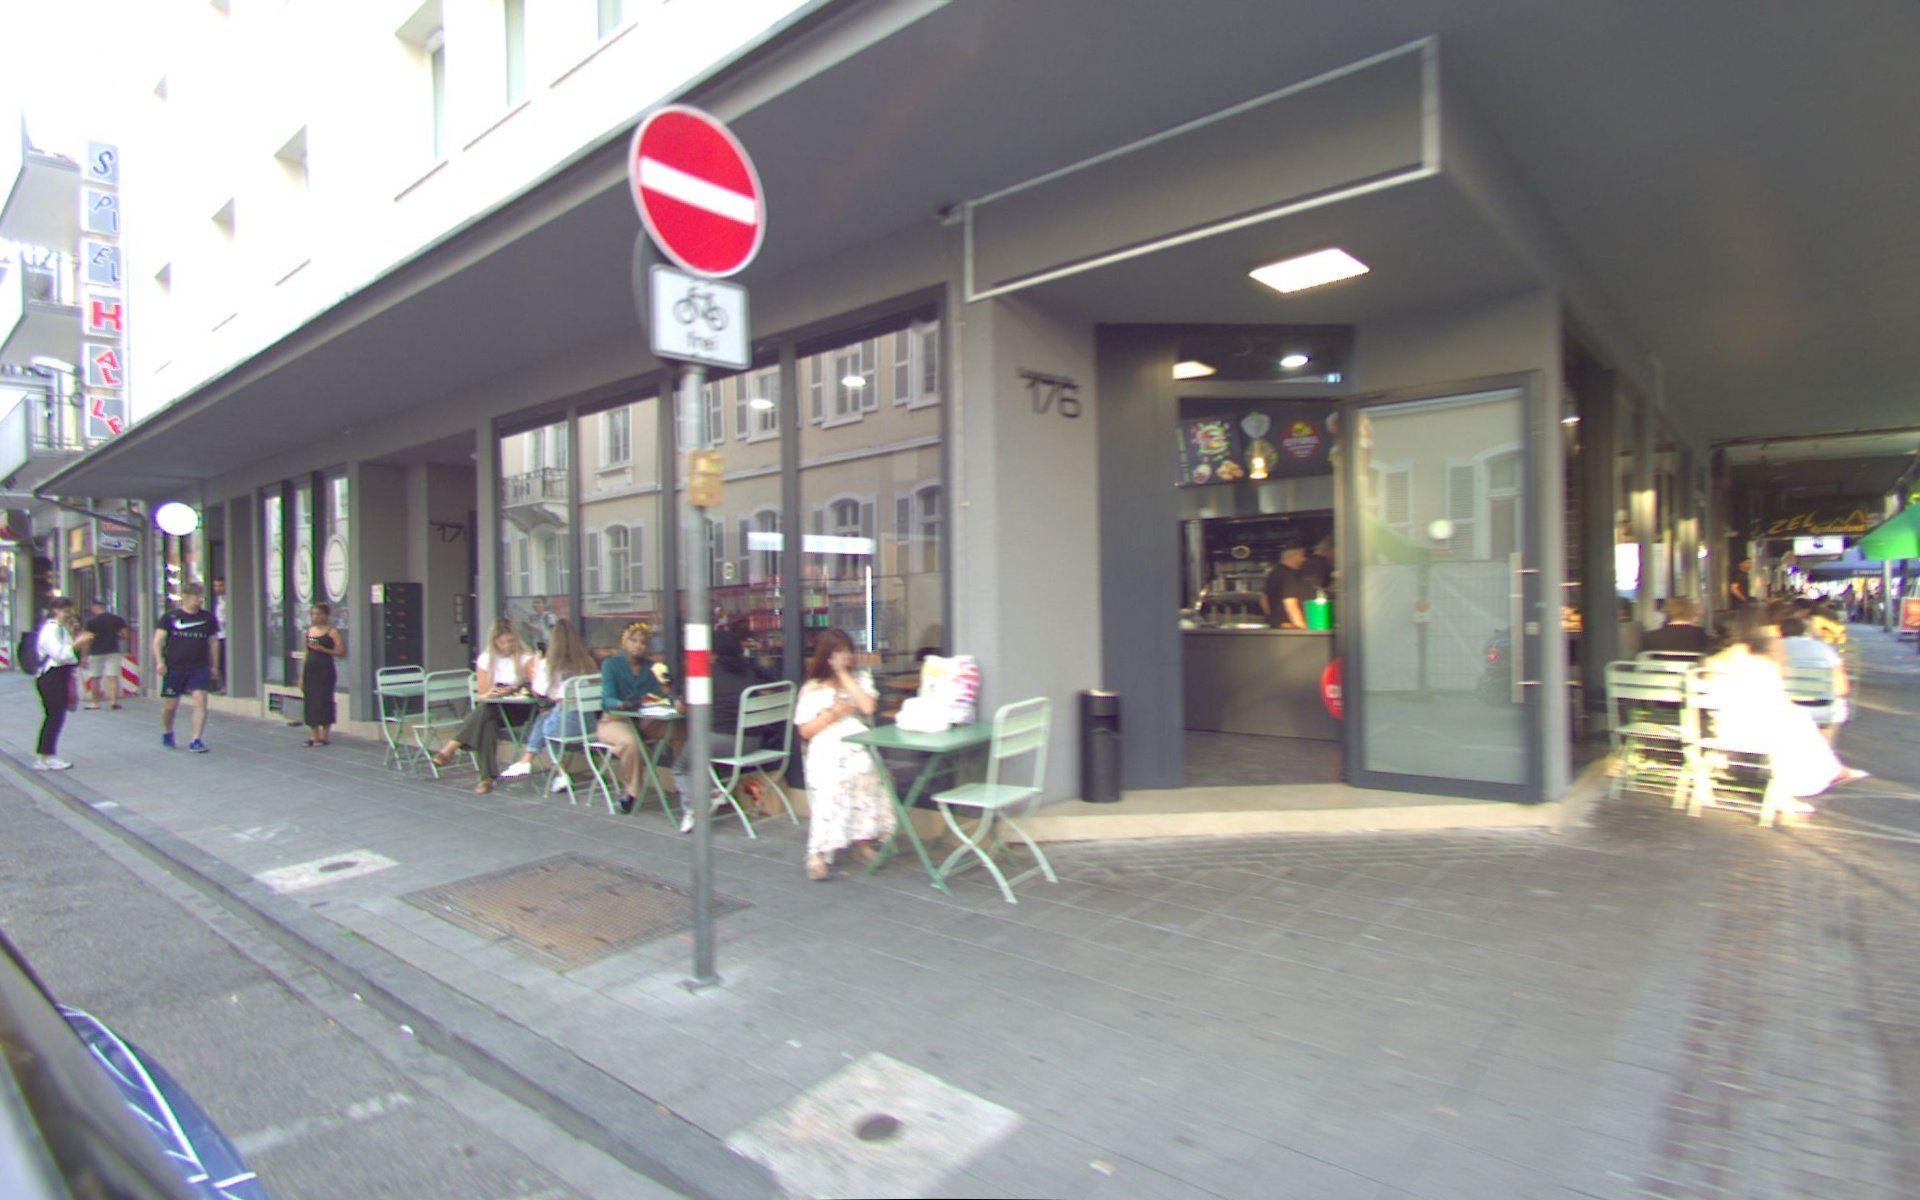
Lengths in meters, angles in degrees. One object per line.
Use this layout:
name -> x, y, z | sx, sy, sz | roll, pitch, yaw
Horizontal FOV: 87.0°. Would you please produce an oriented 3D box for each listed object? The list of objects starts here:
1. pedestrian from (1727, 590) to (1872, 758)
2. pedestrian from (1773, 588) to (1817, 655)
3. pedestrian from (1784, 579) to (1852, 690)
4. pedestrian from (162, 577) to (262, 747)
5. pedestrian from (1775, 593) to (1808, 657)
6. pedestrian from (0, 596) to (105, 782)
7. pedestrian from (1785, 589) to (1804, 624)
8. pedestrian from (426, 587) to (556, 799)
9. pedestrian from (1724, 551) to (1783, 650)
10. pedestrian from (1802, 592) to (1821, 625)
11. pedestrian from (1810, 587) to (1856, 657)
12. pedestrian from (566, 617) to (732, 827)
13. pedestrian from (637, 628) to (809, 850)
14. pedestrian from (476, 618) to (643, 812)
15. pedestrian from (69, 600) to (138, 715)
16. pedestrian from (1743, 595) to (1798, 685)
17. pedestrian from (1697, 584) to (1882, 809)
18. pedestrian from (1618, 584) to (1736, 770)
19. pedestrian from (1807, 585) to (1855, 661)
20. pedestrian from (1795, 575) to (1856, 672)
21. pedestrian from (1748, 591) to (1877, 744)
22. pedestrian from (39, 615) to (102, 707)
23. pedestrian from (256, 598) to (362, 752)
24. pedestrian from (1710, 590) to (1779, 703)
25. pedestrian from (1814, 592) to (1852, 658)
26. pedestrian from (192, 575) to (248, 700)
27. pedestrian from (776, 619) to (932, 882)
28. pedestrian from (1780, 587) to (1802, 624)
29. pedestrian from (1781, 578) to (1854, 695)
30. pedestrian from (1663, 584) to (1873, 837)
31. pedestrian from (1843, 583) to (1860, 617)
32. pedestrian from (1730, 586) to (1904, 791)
pedestrian -> 7.181, 0.594, 8.657 | 0.888, 1.330, 0.869 | -1, -1, 44
pedestrian -> 17.633, 0.453, 21.367 | 0.692, 1.389, 0.755 | -1, -1, 41
pedestrian -> 11.171, 0.443, 13.181 | 0.656, 1.389, 0.755 | -1, -1, 41
pedestrian -> -8.464, 0.669, 11.447 | 0.932, 1.824, 0.707 | -2, -1, 41
pedestrian -> 18.365, 0.550, 22.353 | 0.539, 1.389, 0.670 | -1, -1, 41
pedestrian -> -9.047, 0.857, 9.985 | 0.771, 1.753, 0.761 | 2, -3, -31
pedestrian -> 33.959, 0.269, 41.183 | 0.596, 1.383, 0.445 | 1, 1, -40
pedestrian -> -3.735, 0.693, 8.047 | 0.695, 1.559, 0.862 | -1, 0, -42
pedestrian -> 14.620, 0.021, 18.668 | 0.652, 1.779, 0.760 | 0, -1, 22
pedestrian -> 32.811, 0.331, 39.004 | 0.512, 1.251, 0.652 | 3, 1, 40
pedestrian -> 17.088, 0.430, 19.813 | 0.656, 1.341, 0.755 | -1, -1, 41
pedestrian -> -2.081, 0.768, 6.773 | 0.778, 1.249, 0.696 | -2, 2, 44
pedestrian -> -1.454, 0.804, 6.214 | 0.691, 1.204, 0.696 | -2, 2, 44
pedestrian -> -2.878, 0.799, 7.316 | 0.853, 1.296, 0.702 | -2, 0, 17
pedestrian -> -13.923, 0.915, 16.451 | 0.932, 1.795, 0.697 | -2, 0, 41
pedestrian -> 12.894, 0.619, 16.098 | 0.656, 1.389, 0.755 | -1, -1, 41
pedestrian -> 5.397, 0.576, 6.585 | 0.850, 1.330, 0.869 | -1, -1, 44
pedestrian -> 5.515, 0.557, 7.776 | 0.624, 1.330, 0.829 | -1, -1, 44
pedestrian -> 16.345, 0.424, 18.995 | 0.656, 1.389, 0.755 | -1, -1, 41
pedestrian -> 12.763, 0.338, 14.935 | 0.656, 1.389, 0.755 | -1, -1, 41
pedestrian -> 7.924, 0.595, 9.408 | 0.850, 1.330, 0.869 | -1, -1, 44
pedestrian -> -16.173, 1.093, 18.400 | 0.612, 1.590, 0.702 | -2, 1, 38
pedestrian -> -6.964, 0.791, 10.848 | 0.632, 1.581, 0.655 | -2, 0, 15
pedestrian -> 10.023, 0.579, 12.924 | 0.656, 1.389, 0.755 | -1, -1, 41
pedestrian -> 18.831, 0.534, 21.838 | 0.607, 1.389, 0.639 | -1, -1, 41
pedestrian -> -11.142, 0.562, 15.245 | 0.613, 1.824, 0.538 | -2, -2, 40
pedestrian -> -0.585, 0.727, 5.315 | 0.694, 1.228, 0.844 | -2, 0, -12
pedestrian -> 33.379, 0.211, 40.635 | 0.612, 1.444, 0.504 | 3, 1, 43
pedestrian -> 10.578, 0.441, 12.492 | 0.656, 1.389, 0.755 | -1, -1, 41
pedestrian -> 4.754, 0.588, 5.956 | 0.888, 1.330, 0.869 | -1, -1, 44
pedestrian -> 37.827, 0.009, 42.952 | 0.511, 1.444, 0.603 | 1, 0, 43
pedestrian -> 6.099, 0.580, 7.202 | 0.888, 1.330, 0.869 | -1, -1, 44
